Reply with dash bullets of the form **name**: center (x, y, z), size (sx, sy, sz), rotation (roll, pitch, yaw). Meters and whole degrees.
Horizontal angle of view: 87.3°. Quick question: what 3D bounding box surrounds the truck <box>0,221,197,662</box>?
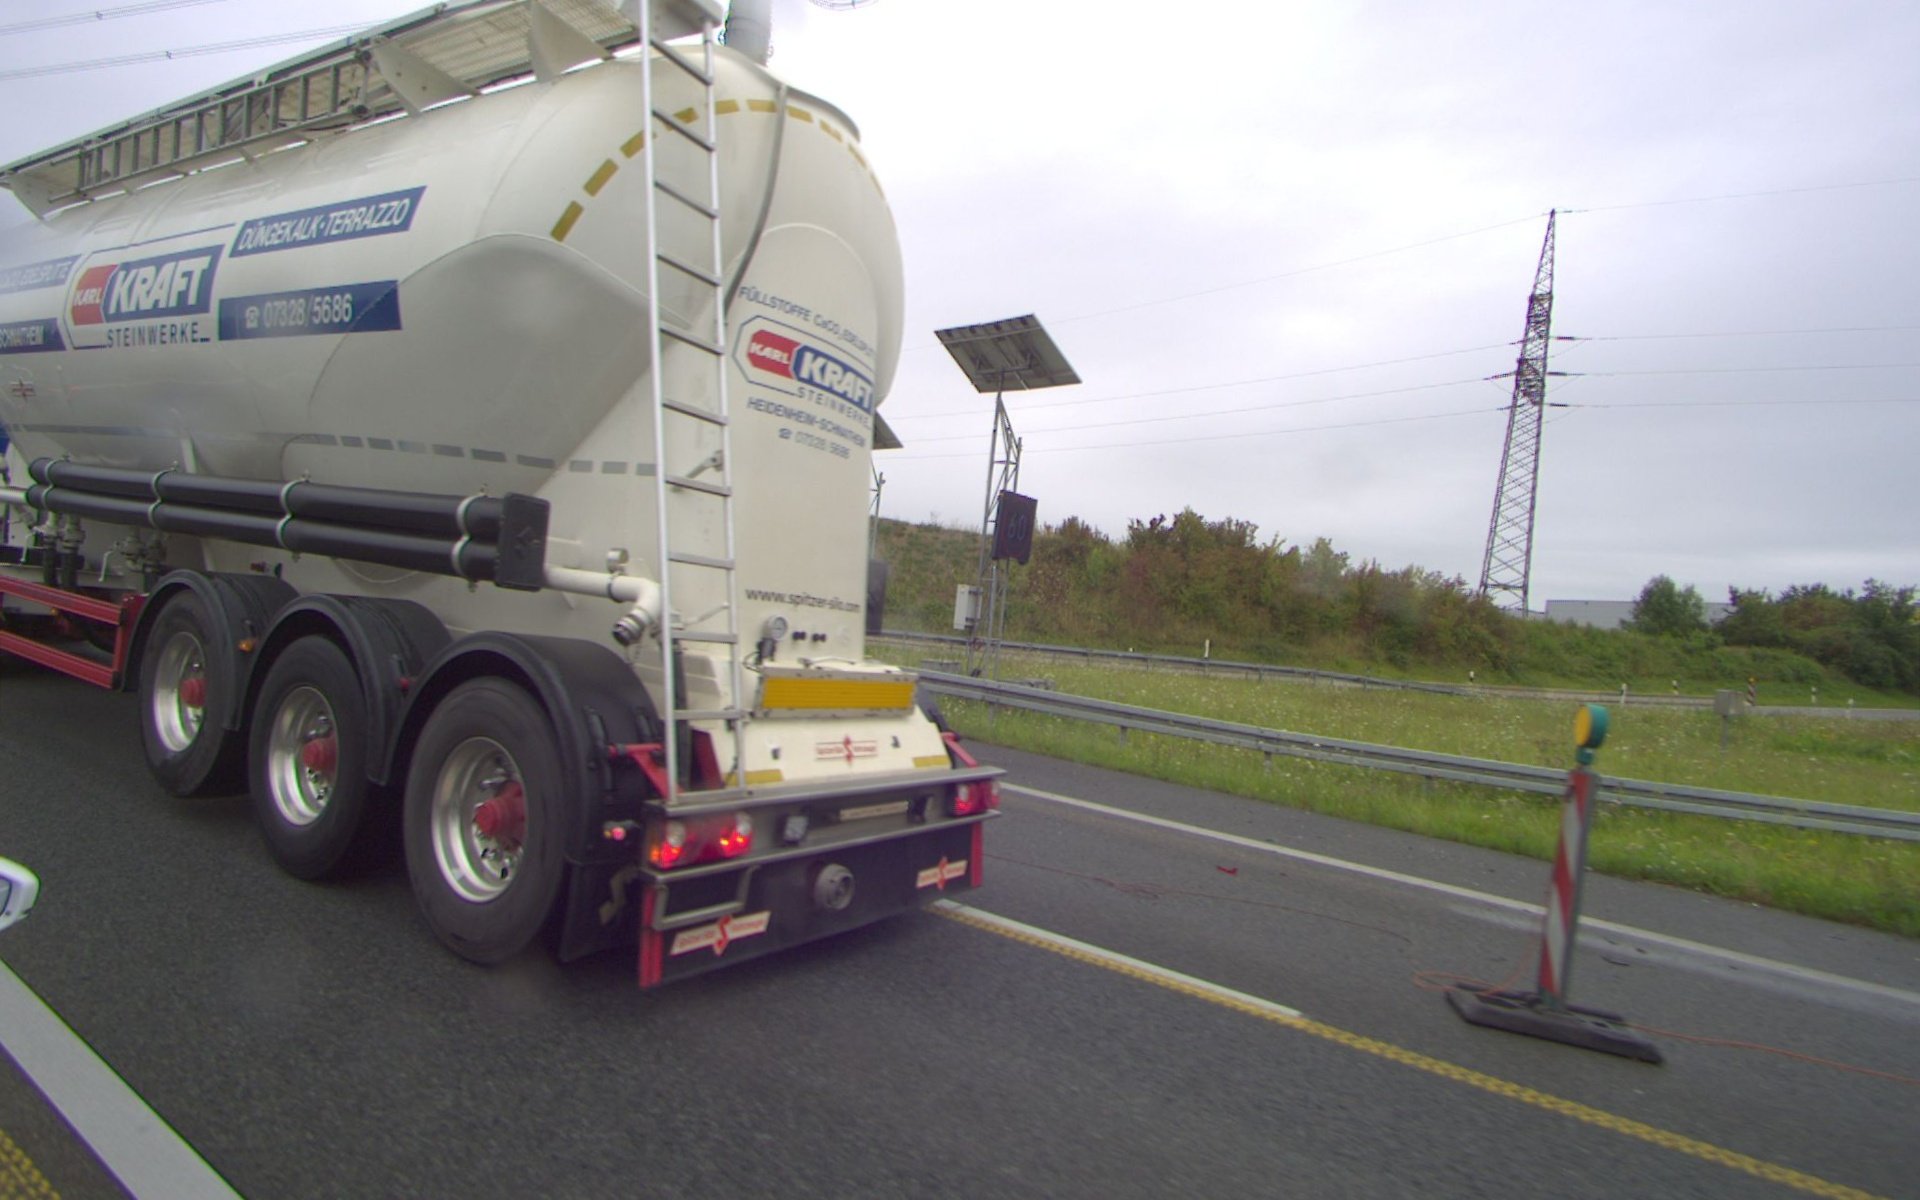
- **truck**: center (-10.539, -1.636, 10.488), size (3.935, 3.993, 2.552), rotation (6, -1, 32)

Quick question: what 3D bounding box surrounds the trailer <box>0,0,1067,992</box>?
- **trailer**: center (-5.439, -1.137, 7.376), size (12.147, 3.878, 2.524), rotation (6, -2, 32)
